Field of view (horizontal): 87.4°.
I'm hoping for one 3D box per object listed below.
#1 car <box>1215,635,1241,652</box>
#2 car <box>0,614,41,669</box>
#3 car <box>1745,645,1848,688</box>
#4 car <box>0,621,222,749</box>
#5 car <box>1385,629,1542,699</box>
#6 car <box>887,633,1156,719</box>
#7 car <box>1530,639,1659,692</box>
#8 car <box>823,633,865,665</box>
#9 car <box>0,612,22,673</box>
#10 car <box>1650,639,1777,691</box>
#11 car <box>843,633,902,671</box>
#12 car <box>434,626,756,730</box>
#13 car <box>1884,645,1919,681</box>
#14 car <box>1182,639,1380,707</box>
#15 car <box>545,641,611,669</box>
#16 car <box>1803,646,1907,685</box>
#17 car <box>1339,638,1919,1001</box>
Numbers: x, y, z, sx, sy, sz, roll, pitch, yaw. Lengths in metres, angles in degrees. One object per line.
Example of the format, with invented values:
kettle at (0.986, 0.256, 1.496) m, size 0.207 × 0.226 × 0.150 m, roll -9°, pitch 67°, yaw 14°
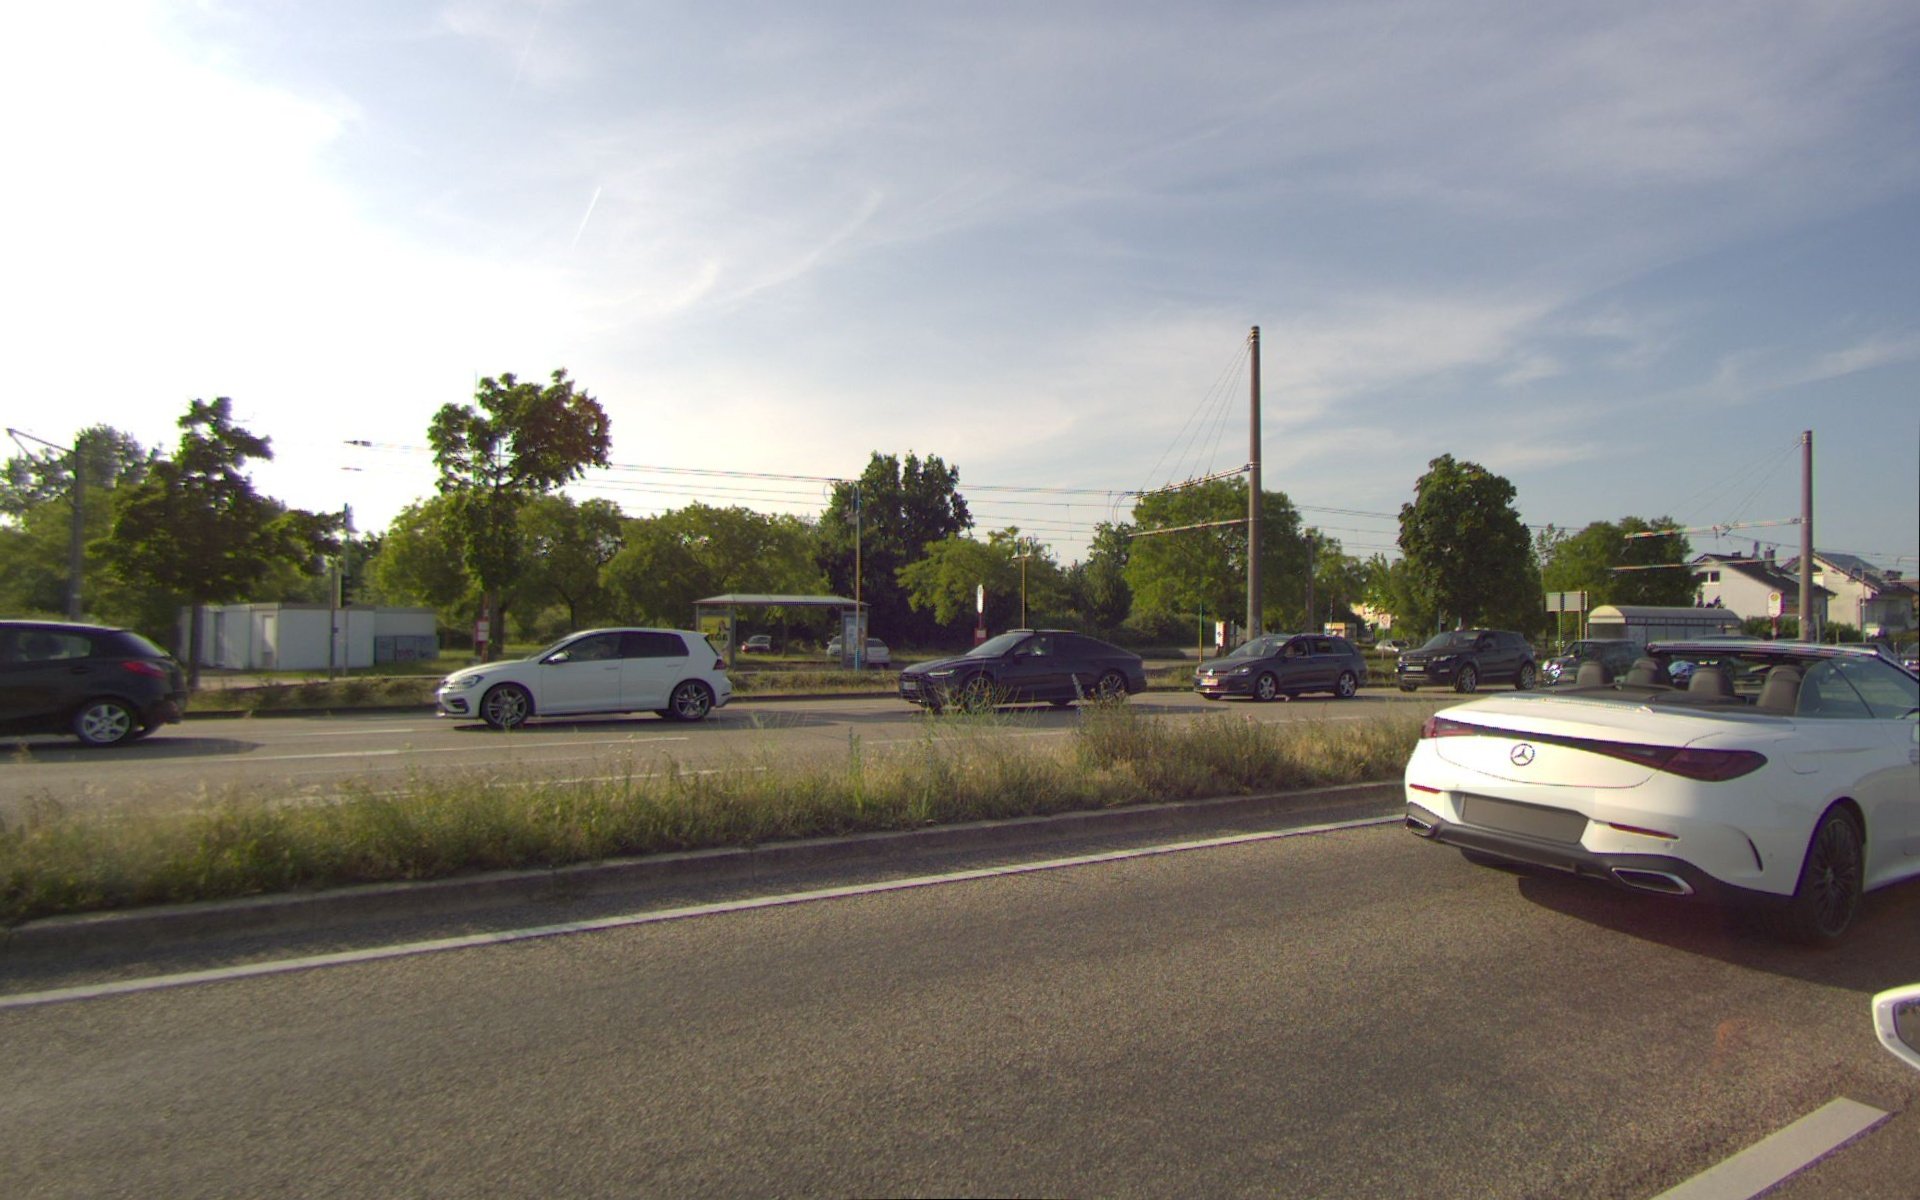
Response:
car at (22.921, 3.722, 85.994) m, size 1.699 × 1.384 × 3.626 m, roll -1°, pitch -4°, yaw 7°
car at (-36.022, 1.508, 37.152) m, size 1.808 × 1.902 × 3.655 m, roll 2°, pitch 0°, yaw -22°
car at (29.883, 2.347, 35.879) m, size 3.760 × 1.450 × 1.653 m, roll 2°, pitch -3°, yaw -30°
car at (-11.148, 0.963, 11.655) m, size 3.953 × 1.399 × 1.653 m, roll 2°, pitch -3°, yaw -30°
car at (13.213, 1.661, 26.315) m, size 4.180 × 1.709 × 1.653 m, roll 2°, pitch -3°, yaw -30°
car at (1.207, 1.357, 18.564) m, size 4.917 × 1.433 × 1.653 m, roll 2°, pitch -3°, yaw -30°
car at (18.619, 1.896, 29.451) m, size 3.760 × 1.450 × 1.653 m, roll 2°, pitch -3°, yaw -30°
car at (-6.976, 2.955, 60.867) m, size 1.960 × 1.684 × 4.000 m, roll 2°, pitch 0°, yaw 1°
car at (-33.181, 1.406, 33.968) m, size 3.623 × 1.902 × 1.824 m, roll 2°, pitch 0°, yaw 42°
car at (24.308, 2.060, 32.357) m, size 4.493 × 1.583 × 1.653 m, roll 2°, pitch -3°, yaw -30°
car at (-4.560, 2.670, 51.758) m, size 1.970 × 1.684 × 3.980 m, roll 2°, pitch 0°, yaw -21°
car at (-5.516, 1.142, 15.378) m, size 4.416 × 1.399 × 1.653 m, roll 2°, pitch -3°, yaw -30°
car at (41.019, 2.653, 42.528) m, size 4.009 × 1.450 × 1.653 m, roll 2°, pitch -3°, yaw -30°
car at (7.228, 1.596, 22.490) m, size 4.488 × 1.399 × 1.653 m, roll 2°, pitch -3°, yaw -30°
car at (-23.127, 3.330, 61.006) m, size 1.921 × 1.432 × 4.160 m, roll 2°, pitch 0°, yaw 9°
car at (34.941, 2.543, 39.179) m, size 4.662 × 1.450 × 1.653 m, roll 2°, pitch -3°, yaw -30°
car at (4.651, 0.966, 5.979) m, size 4.891 × 1.355 × 1.763 m, roll 2°, pitch 0°, yaw -30°
